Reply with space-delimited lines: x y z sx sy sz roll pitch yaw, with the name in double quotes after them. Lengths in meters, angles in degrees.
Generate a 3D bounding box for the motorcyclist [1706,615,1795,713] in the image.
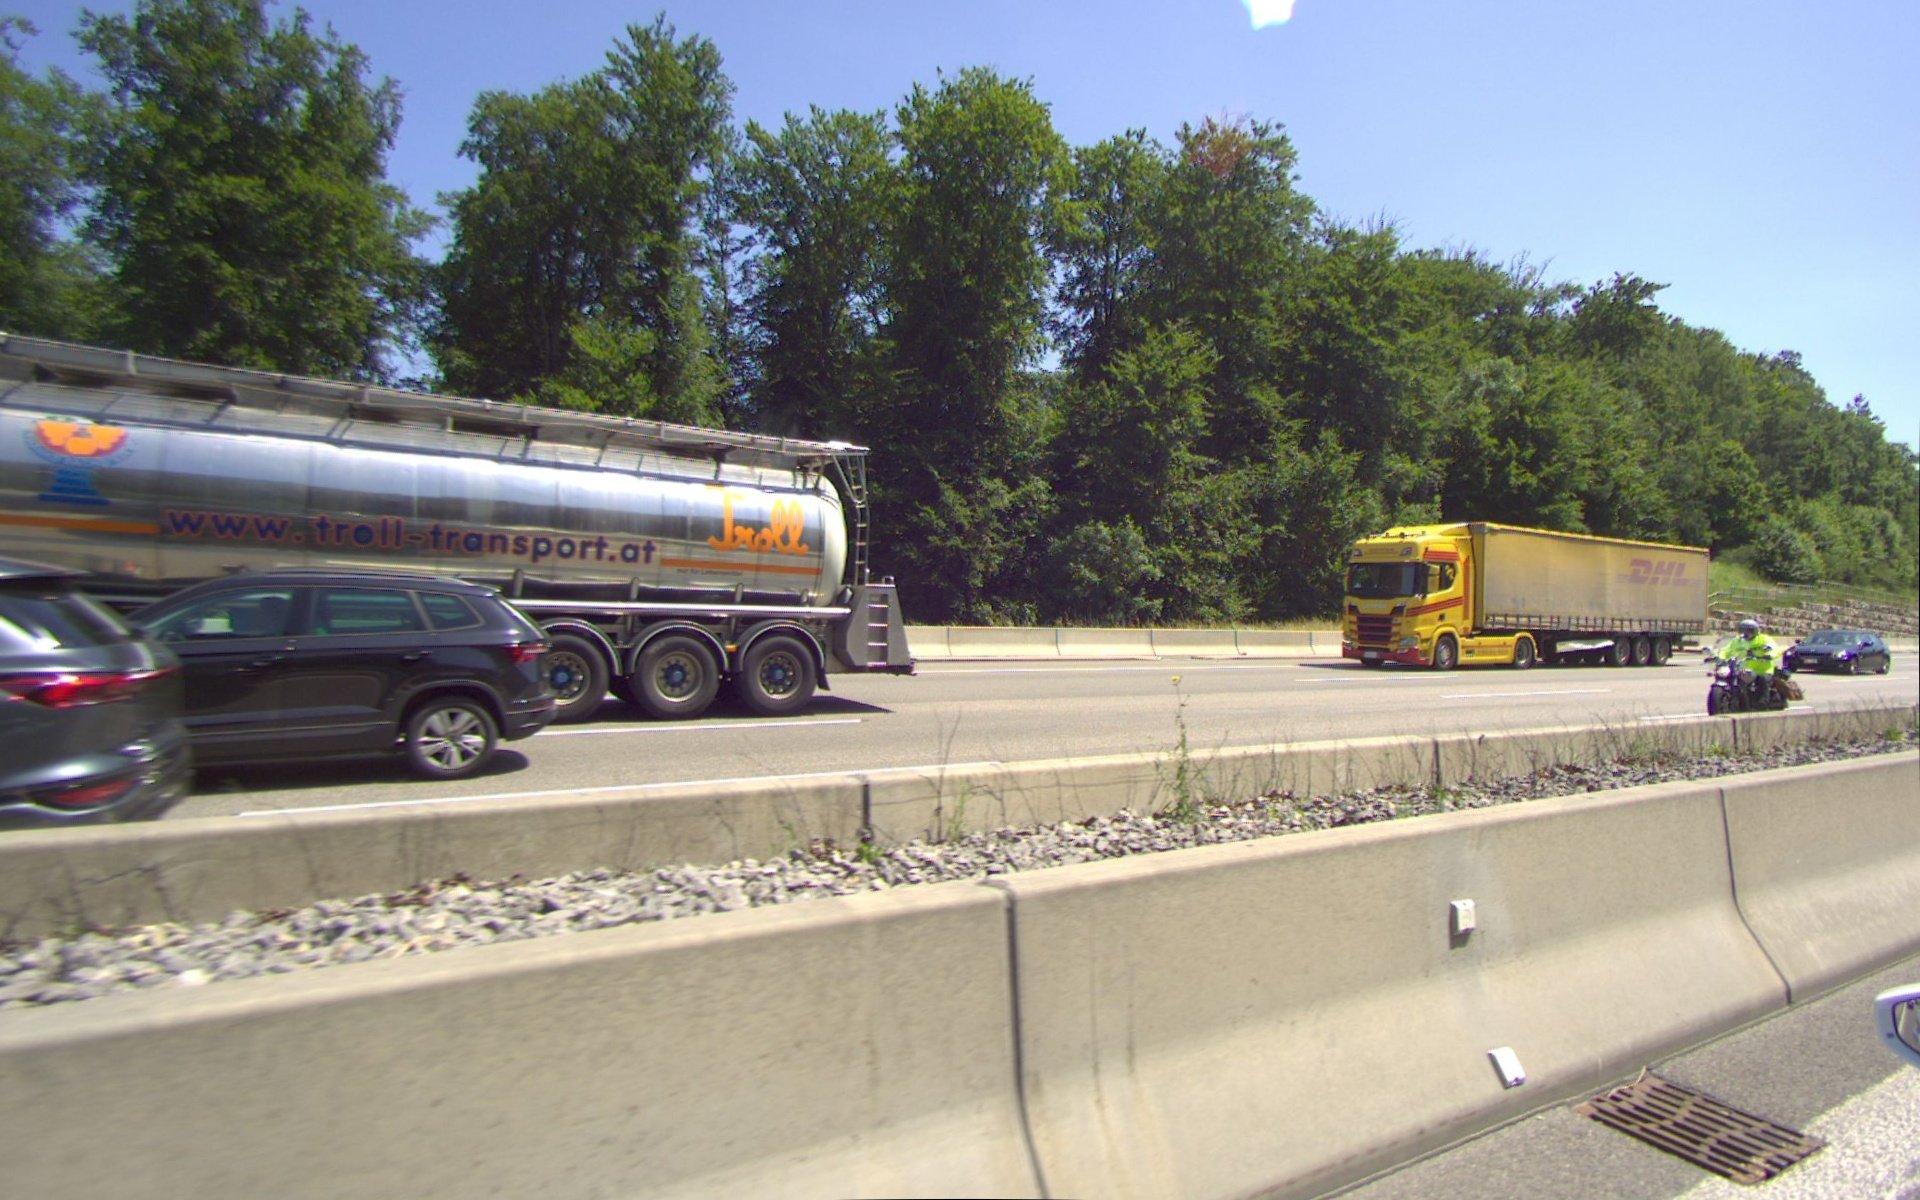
11.642 0.923 14.792 0.894 1.379 0.724 1 0 -30 "motorcyclist"

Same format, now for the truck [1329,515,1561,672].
14.061 -0.100 28.994 6.673 4.071 2.737 2 0 -31 "truck"

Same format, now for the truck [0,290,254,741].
-10.680 -0.804 9.086 6.721 3.992 2.519 2 0 -30 "truck"

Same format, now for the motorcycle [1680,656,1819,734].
11.674 1.369 14.824 2.497 1.027 0.724 2 0 -30 "motorcycle"

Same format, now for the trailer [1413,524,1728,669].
20.247 0.060 32.728 13.566 4.058 2.709 2 0 -31 "trailer"

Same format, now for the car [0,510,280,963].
-5.625 0.472 3.789 4.896 1.728 1.983 2 0 -31 "car"

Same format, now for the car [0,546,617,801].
-5.060 0.520 8.239 4.011 1.666 1.712 2 0 -29 "car"

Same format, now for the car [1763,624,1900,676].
28.067 1.596 32.337 4.527 1.503 1.984 2 0 -31 "car"

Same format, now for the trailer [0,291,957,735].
-5.695 -0.685 12.003 11.556 3.932 2.526 2 0 -30 "trailer"
